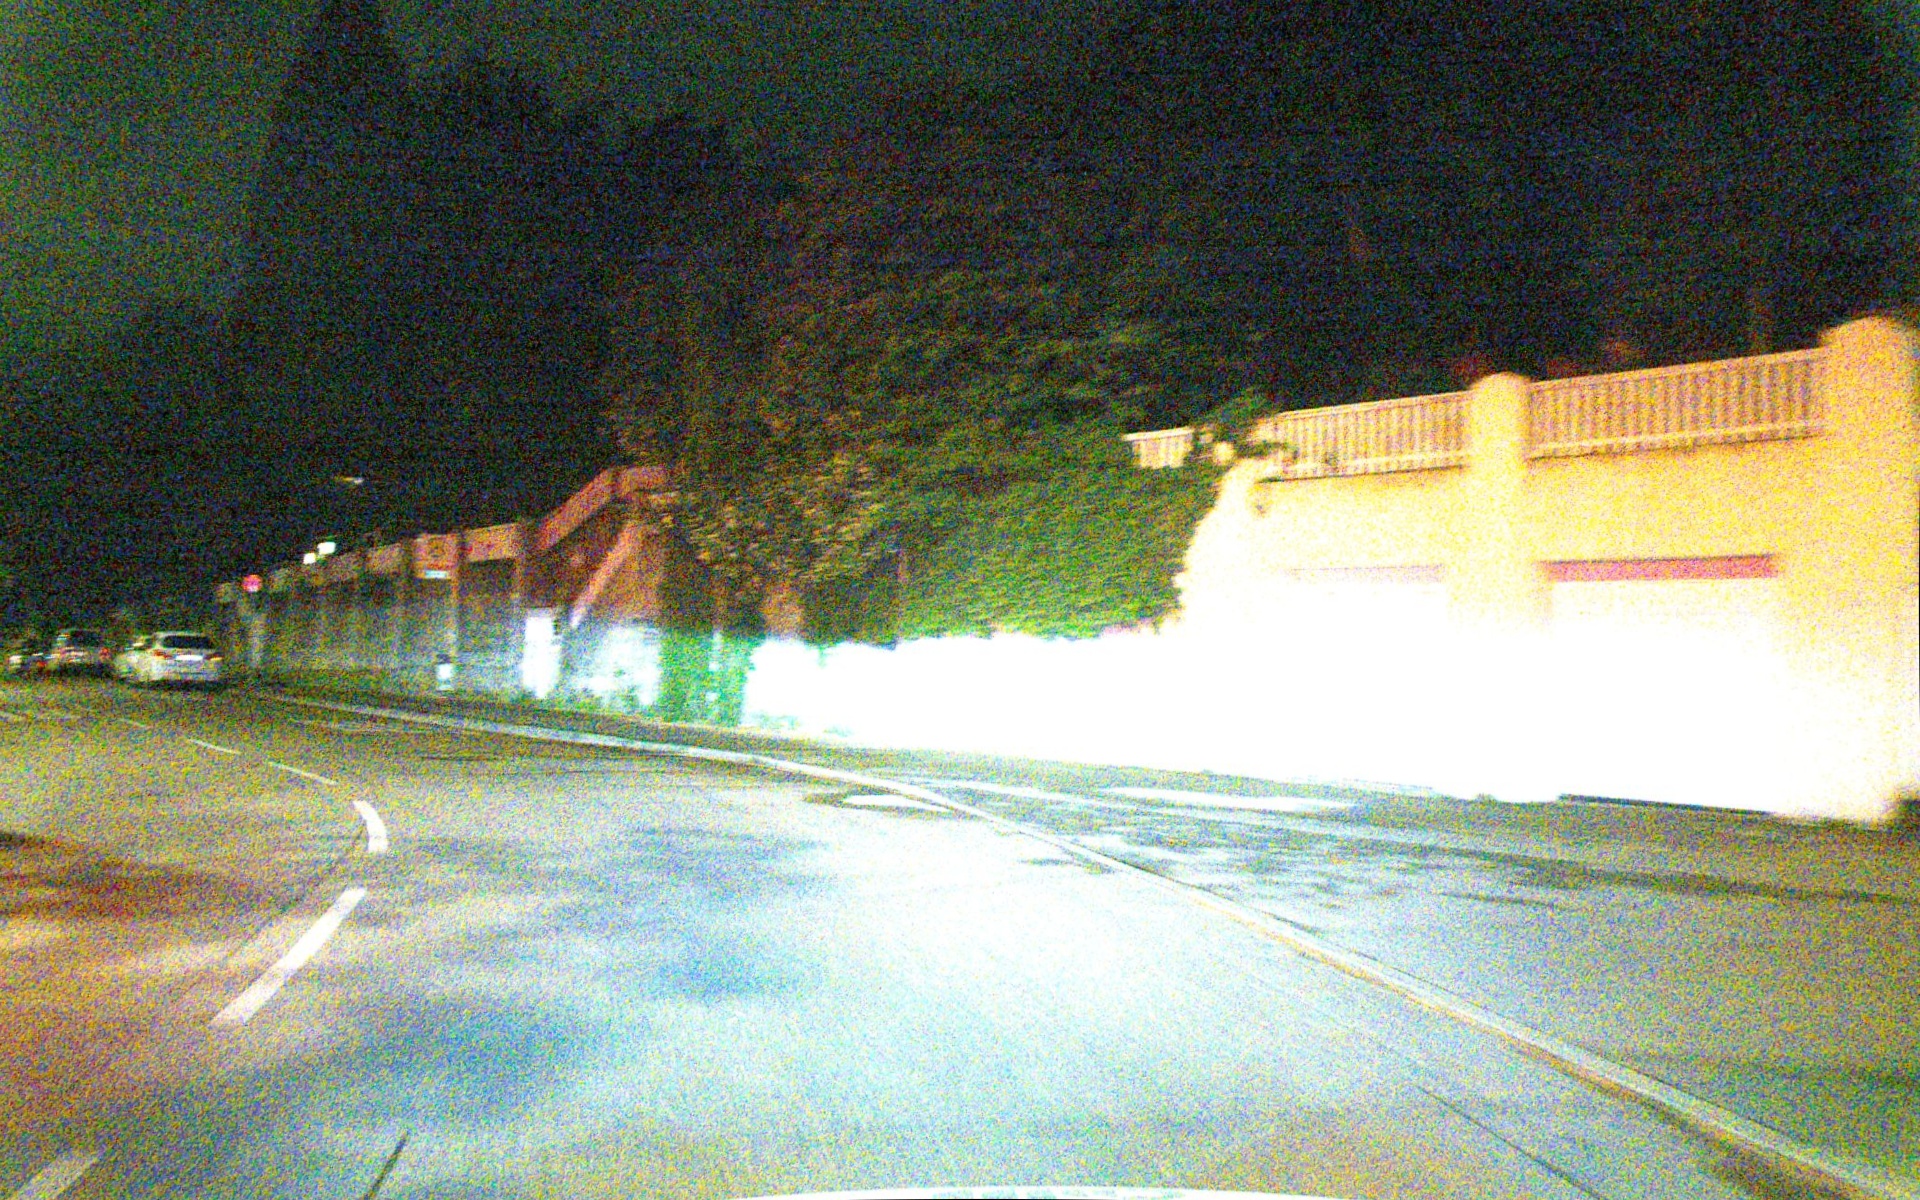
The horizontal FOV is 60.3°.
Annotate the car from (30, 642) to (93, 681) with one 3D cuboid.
[{"bbox_3d":[-36.781,2.528,67.678,1.729,1.497,4.203,5,-5,-35],"label":"car"}]

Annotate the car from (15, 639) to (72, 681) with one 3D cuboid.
[{"bbox_3d":[-40.020,2.654,72.189,1.815,1.693,4.565,3,-4,-33],"label":"car"}]

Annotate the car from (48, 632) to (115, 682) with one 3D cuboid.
[{"bbox_3d":[-33.628,2.188,63.276,1.703,1.792,4.700,4,-4,-34],"label":"car"}]

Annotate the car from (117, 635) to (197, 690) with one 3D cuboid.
[{"bbox_3d":[-23.937,1.837,49.239,1.595,1.487,3.671,0,0,-35],"label":"car"}]

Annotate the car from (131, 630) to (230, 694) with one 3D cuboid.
[{"bbox_3d":[-21.497,1.687,45.512,1.739,1.622,4.672,4,-3,-33],"label":"car"}]
